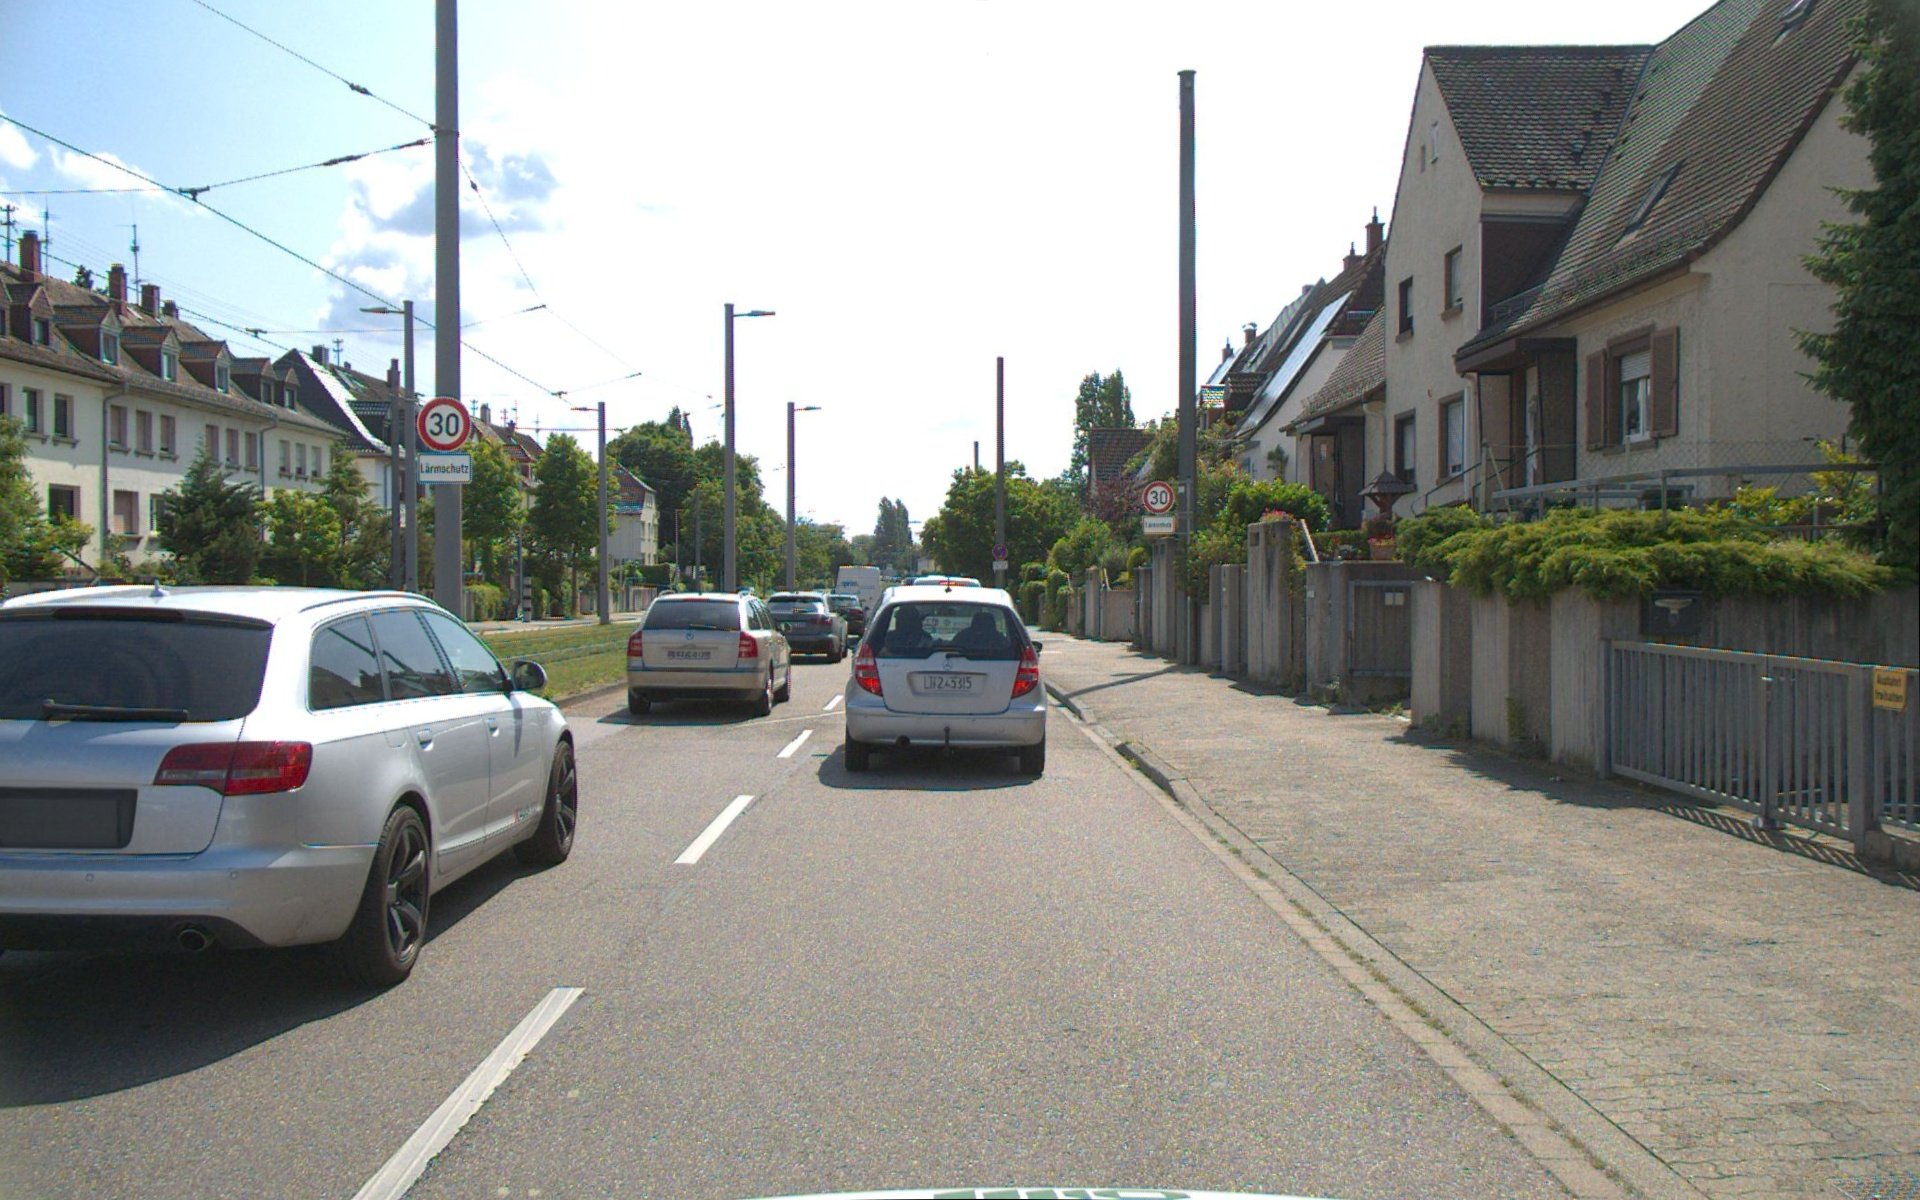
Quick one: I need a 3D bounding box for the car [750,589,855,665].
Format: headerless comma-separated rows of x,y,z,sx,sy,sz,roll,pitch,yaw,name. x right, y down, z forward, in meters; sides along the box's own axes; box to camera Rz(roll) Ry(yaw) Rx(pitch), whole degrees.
-3.394,0.552,36.355,1.877,1.503,4.561,2,0,-1,car

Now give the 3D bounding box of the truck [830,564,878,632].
-4.330,-0.072,68.083,1.815,2.597,5.851,2,0,-3,truck

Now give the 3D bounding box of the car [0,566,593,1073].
-2.961,0.642,7.257,1.758,1.497,4.720,1,0,-2,car

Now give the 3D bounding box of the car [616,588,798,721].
-3.094,0.628,20.960,1.696,1.474,4.122,2,0,-1,car

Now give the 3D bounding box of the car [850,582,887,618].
-5.493,0.004,100.180,1.877,2.113,4.562,2,0,1,car

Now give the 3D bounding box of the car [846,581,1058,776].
-0.150,0.646,15.528,1.695,1.543,4.014,2,0,-3,car

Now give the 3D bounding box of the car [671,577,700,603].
-26.150,-0.914,157.890,1.877,2.371,4.562,2,0,1,car

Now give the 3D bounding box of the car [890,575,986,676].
-0.434,0.464,32.055,1.695,1.793,4.016,2,0,-1,car

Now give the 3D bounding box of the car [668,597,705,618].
-20.518,0.565,124.270,1.877,1.503,4.562,2,0,1,car

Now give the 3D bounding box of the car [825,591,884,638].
-3.416,0.460,54.269,1.815,1.412,4.511,2,0,-3,car

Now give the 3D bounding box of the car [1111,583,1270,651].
6.212,0.454,44.837,3.909,1.713,1.998,-1,0,-5,car
